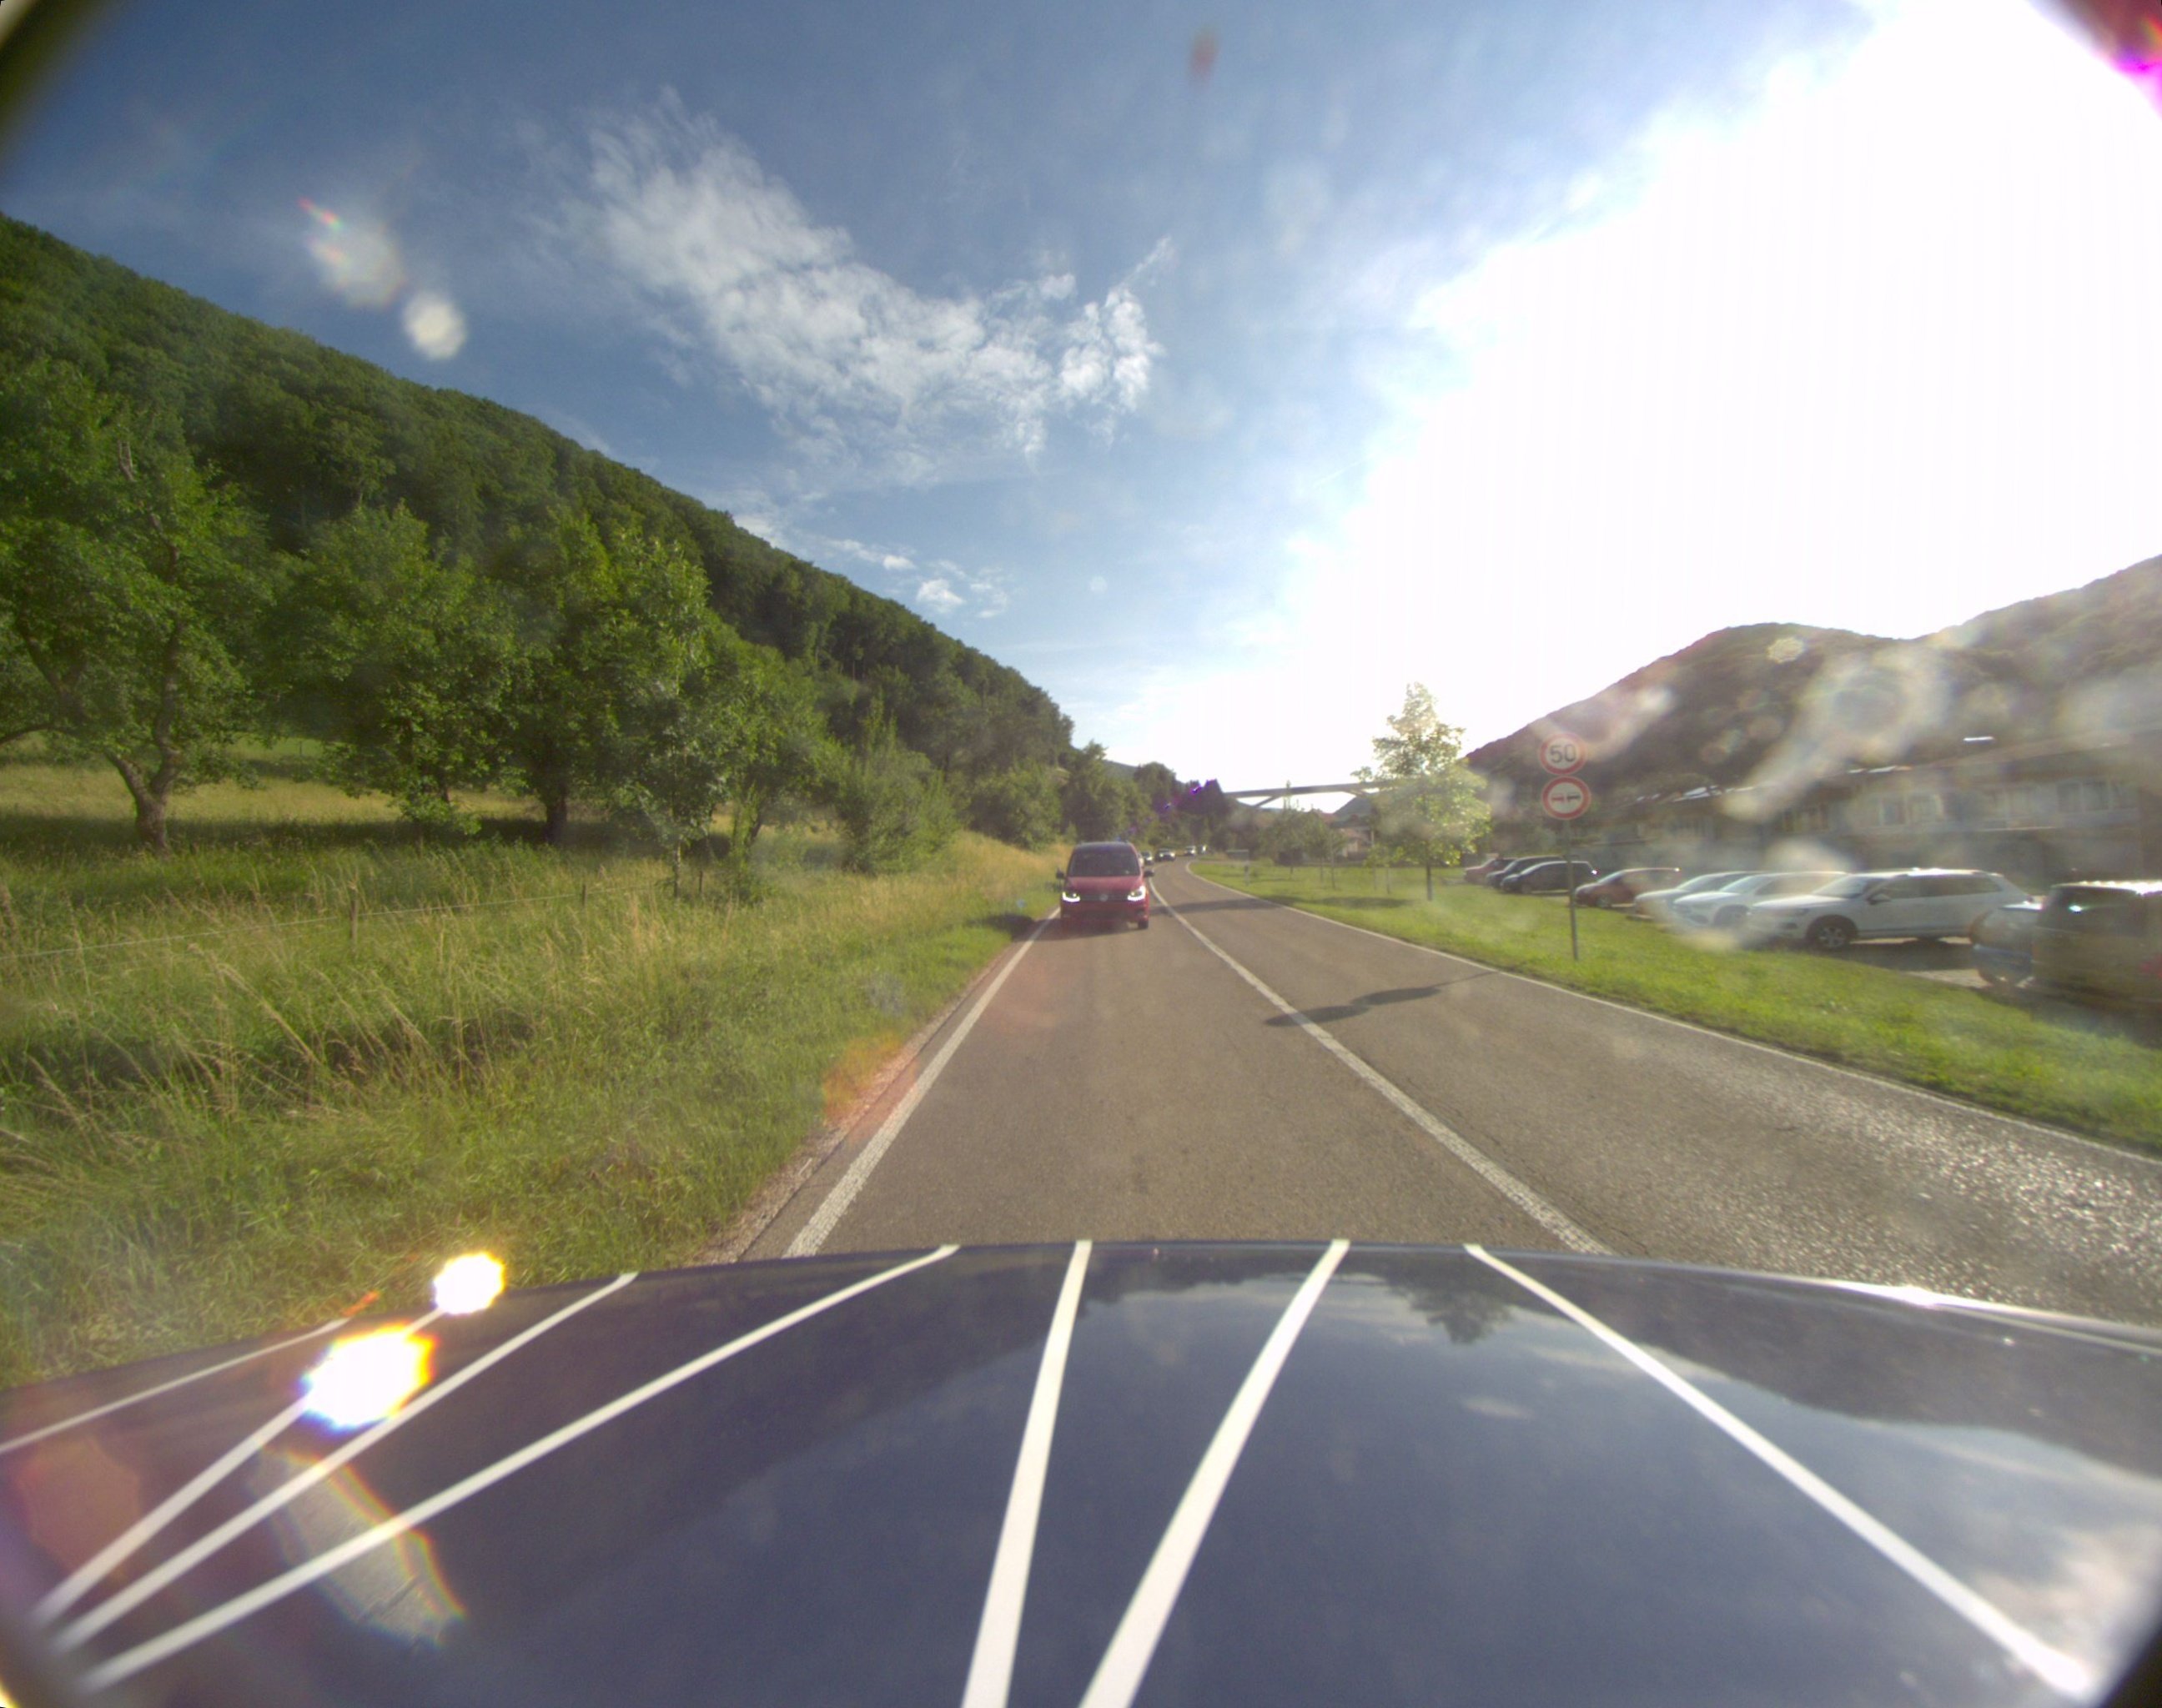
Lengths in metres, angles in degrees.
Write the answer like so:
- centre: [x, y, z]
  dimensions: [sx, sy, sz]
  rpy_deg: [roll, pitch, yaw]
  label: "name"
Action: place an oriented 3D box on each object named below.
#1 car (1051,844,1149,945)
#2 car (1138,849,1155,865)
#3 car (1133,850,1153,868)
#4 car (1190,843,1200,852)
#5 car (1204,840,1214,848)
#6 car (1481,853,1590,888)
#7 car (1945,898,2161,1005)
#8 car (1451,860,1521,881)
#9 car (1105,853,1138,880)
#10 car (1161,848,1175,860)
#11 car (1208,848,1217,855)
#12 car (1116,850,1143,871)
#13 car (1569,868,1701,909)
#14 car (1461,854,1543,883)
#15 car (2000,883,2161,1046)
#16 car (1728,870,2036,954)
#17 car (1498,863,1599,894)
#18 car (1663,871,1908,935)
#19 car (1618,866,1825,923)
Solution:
- centre: [0.522, 0.708, 15.704]
  dimensions: [1.648, 1.762, 4.001]
  rpy_deg: [-1, 1, 6]
  label: "car"
- centre: [6.998, 0.305, 81.319]
  dimensions: [1.629, 1.470, 3.680]
  rpy_deg: [-2, 1, 6]
  label: "car"
- centre: [5.521, 0.459, 67.731]
  dimensions: [1.629, 1.470, 3.680]
  rpy_deg: [-2, 1, 6]
  label: "car"
- centre: [20.643, -1.135, 137.510]
  dimensions: [1.629, 1.470, 3.681]
  rpy_deg: [-2, 1, 9]
  label: "car"
- centre: [25.473, -1.956, 150.767]
  dimensions: [1.628, 1.470, 3.682]
  rpy_deg: [-2, 1, 13]
  label: "car"
- centre: [25.727, 0.942, 43.178]
  dimensions: [4.999, 1.783, 1.686]
  rpy_deg: [-2, 1, 13]
  label: "car"
- centre: [16.811, 1.535, 12.269]
  dimensions: [3.499, 1.464, 1.634]
  rpy_deg: [-2, 1, 12]
  label: "car"
- centre: [27.727, 1.122, 52.133]
  dimensions: [3.891, 1.361, 1.854]
  rpy_deg: [-1, 2, 15]
  label: "car"
- centre: [2.576, 0.759, 47.631]
  dimensions: [1.629, 1.470, 3.681]
  rpy_deg: [-2, 1, 10]
  label: "car"
- centre: [11.049, -0.028, 96.593]
  dimensions: [1.629, 1.470, 3.680]
  rpy_deg: [-2, 1, 6]
  label: "car"
- centre: [27.359, -0.541, 158.145]
  dimensions: [1.628, 1.470, 3.682]
  rpy_deg: [-2, 1, 13]
  label: "car"
- centre: [3.742, 0.504, 58.322]
  dimensions: [1.629, 1.470, 3.681]
  rpy_deg: [-2, 1, 10]
  label: "car"
- centre: [21.069, 1.294, 29.025]
  dimensions: [3.726, 1.390, 1.617]
  rpy_deg: [-2, 1, 14]
  label: "car"
- centre: [26.857, 0.938, 48.637]
  dimensions: [4.326, 1.659, 1.850]
  rpy_deg: [-2, 1, 19]
  label: "car"
- centre: [15.549, 1.348, 9.629]
  dimensions: [4.616, 1.857, 2.002]
  rpy_deg: [-2, 1, 18]
  label: "car"
- centre: [18.288, 1.322, 17.635]
  dimensions: [4.545, 1.693, 2.002]
  rpy_deg: [-2, 1, 14]
  label: "car"
- centre: [23.720, 1.256, 38.712]
  dimensions: [4.013, 1.443, 1.686]
  rpy_deg: [-2, -1, 13]
  label: "car"
- centre: [19.206, 1.337, 20.964]
  dimensions: [4.545, 1.546, 2.002]
  rpy_deg: [-2, 1, 14]
  label: "car"
- centre: [19.985, 1.260, 23.946]
  dimensions: [4.545, 1.546, 2.002]
  rpy_deg: [-2, 1, 14]
  label: "car"
